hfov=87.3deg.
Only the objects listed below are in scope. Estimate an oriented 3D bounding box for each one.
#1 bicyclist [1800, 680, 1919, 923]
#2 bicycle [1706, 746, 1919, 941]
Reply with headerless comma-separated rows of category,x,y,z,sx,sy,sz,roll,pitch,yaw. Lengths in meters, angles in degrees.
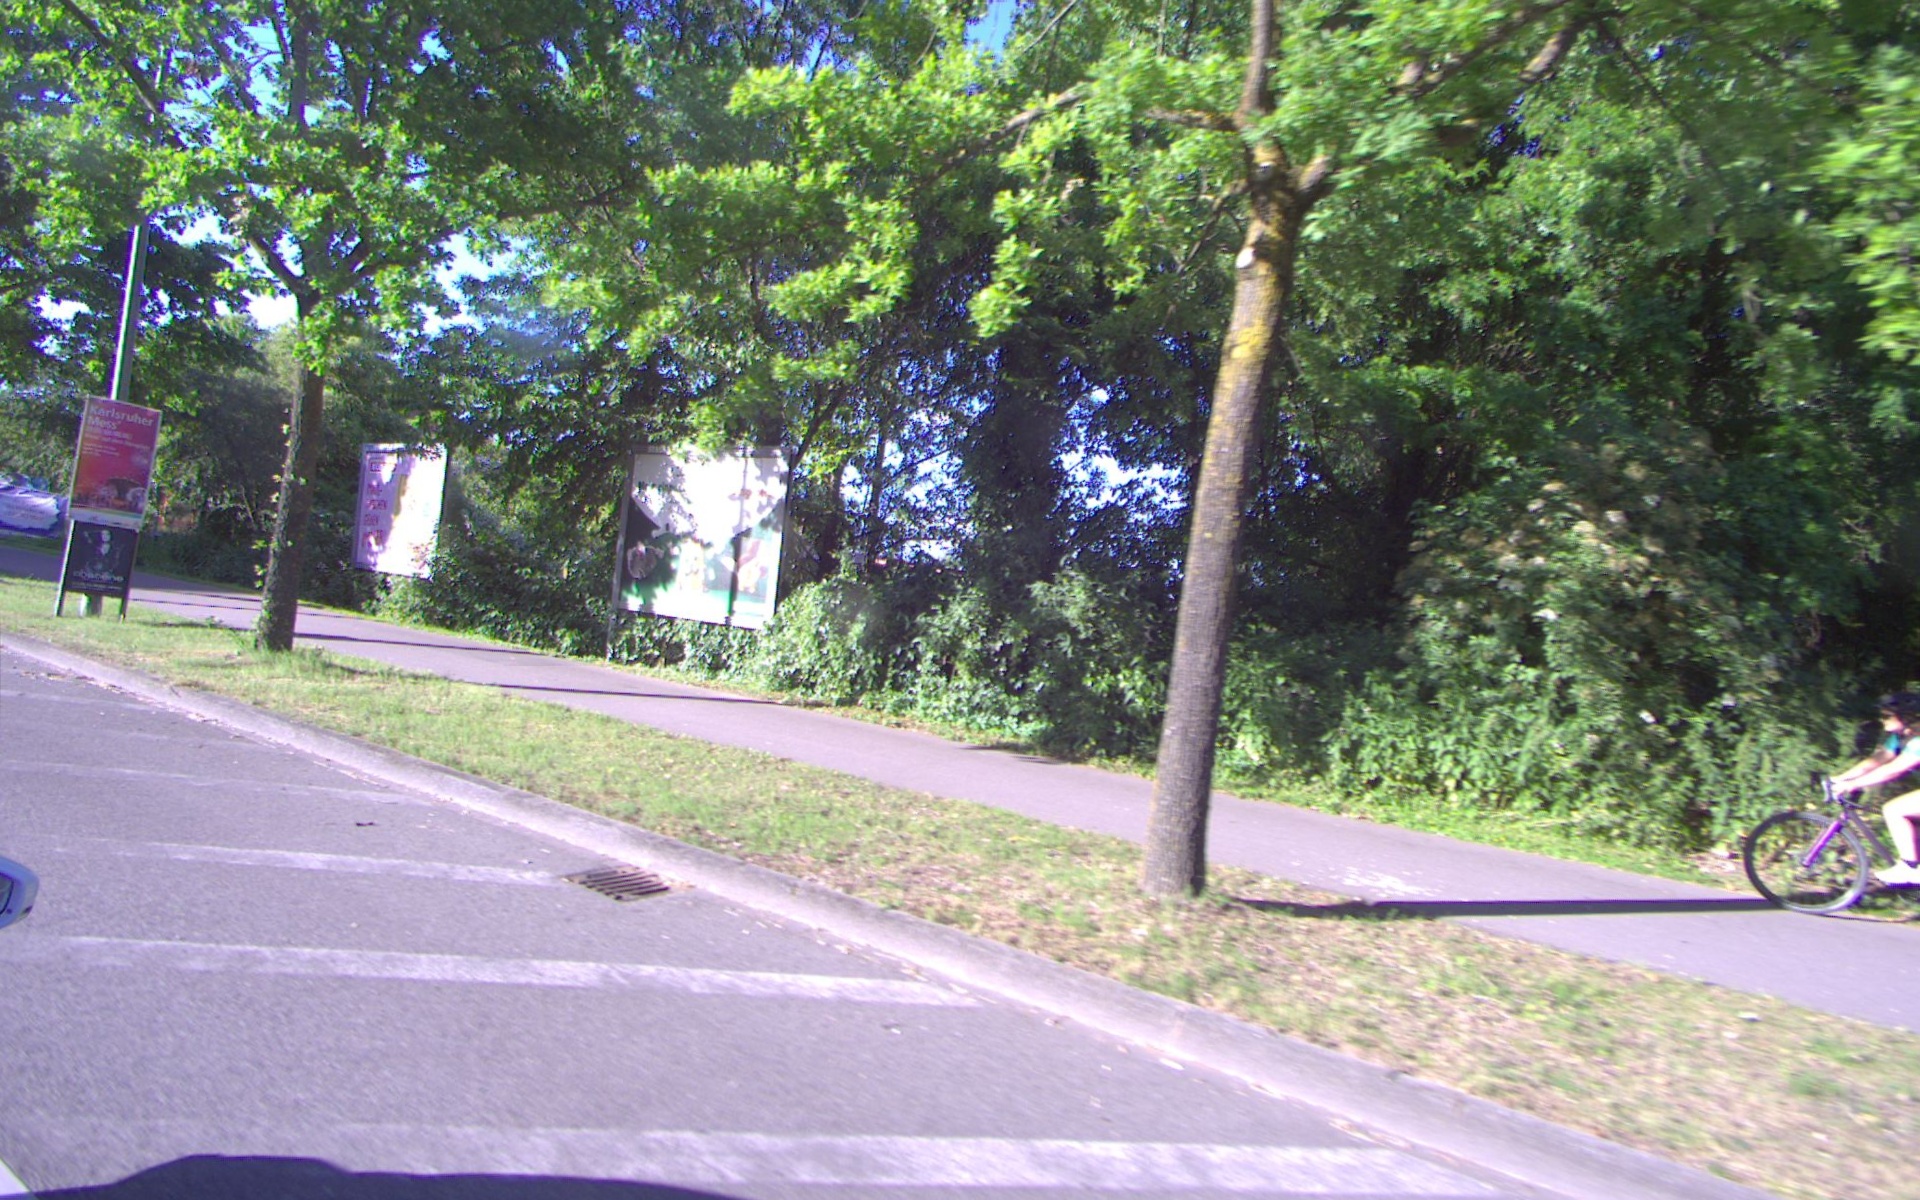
bicyclist,6.585,1.382,6.880,1.018,1.541,0.686,7,0,28
bicycle,6.424,1.723,6.927,1.902,1.086,0.517,7,0,28
